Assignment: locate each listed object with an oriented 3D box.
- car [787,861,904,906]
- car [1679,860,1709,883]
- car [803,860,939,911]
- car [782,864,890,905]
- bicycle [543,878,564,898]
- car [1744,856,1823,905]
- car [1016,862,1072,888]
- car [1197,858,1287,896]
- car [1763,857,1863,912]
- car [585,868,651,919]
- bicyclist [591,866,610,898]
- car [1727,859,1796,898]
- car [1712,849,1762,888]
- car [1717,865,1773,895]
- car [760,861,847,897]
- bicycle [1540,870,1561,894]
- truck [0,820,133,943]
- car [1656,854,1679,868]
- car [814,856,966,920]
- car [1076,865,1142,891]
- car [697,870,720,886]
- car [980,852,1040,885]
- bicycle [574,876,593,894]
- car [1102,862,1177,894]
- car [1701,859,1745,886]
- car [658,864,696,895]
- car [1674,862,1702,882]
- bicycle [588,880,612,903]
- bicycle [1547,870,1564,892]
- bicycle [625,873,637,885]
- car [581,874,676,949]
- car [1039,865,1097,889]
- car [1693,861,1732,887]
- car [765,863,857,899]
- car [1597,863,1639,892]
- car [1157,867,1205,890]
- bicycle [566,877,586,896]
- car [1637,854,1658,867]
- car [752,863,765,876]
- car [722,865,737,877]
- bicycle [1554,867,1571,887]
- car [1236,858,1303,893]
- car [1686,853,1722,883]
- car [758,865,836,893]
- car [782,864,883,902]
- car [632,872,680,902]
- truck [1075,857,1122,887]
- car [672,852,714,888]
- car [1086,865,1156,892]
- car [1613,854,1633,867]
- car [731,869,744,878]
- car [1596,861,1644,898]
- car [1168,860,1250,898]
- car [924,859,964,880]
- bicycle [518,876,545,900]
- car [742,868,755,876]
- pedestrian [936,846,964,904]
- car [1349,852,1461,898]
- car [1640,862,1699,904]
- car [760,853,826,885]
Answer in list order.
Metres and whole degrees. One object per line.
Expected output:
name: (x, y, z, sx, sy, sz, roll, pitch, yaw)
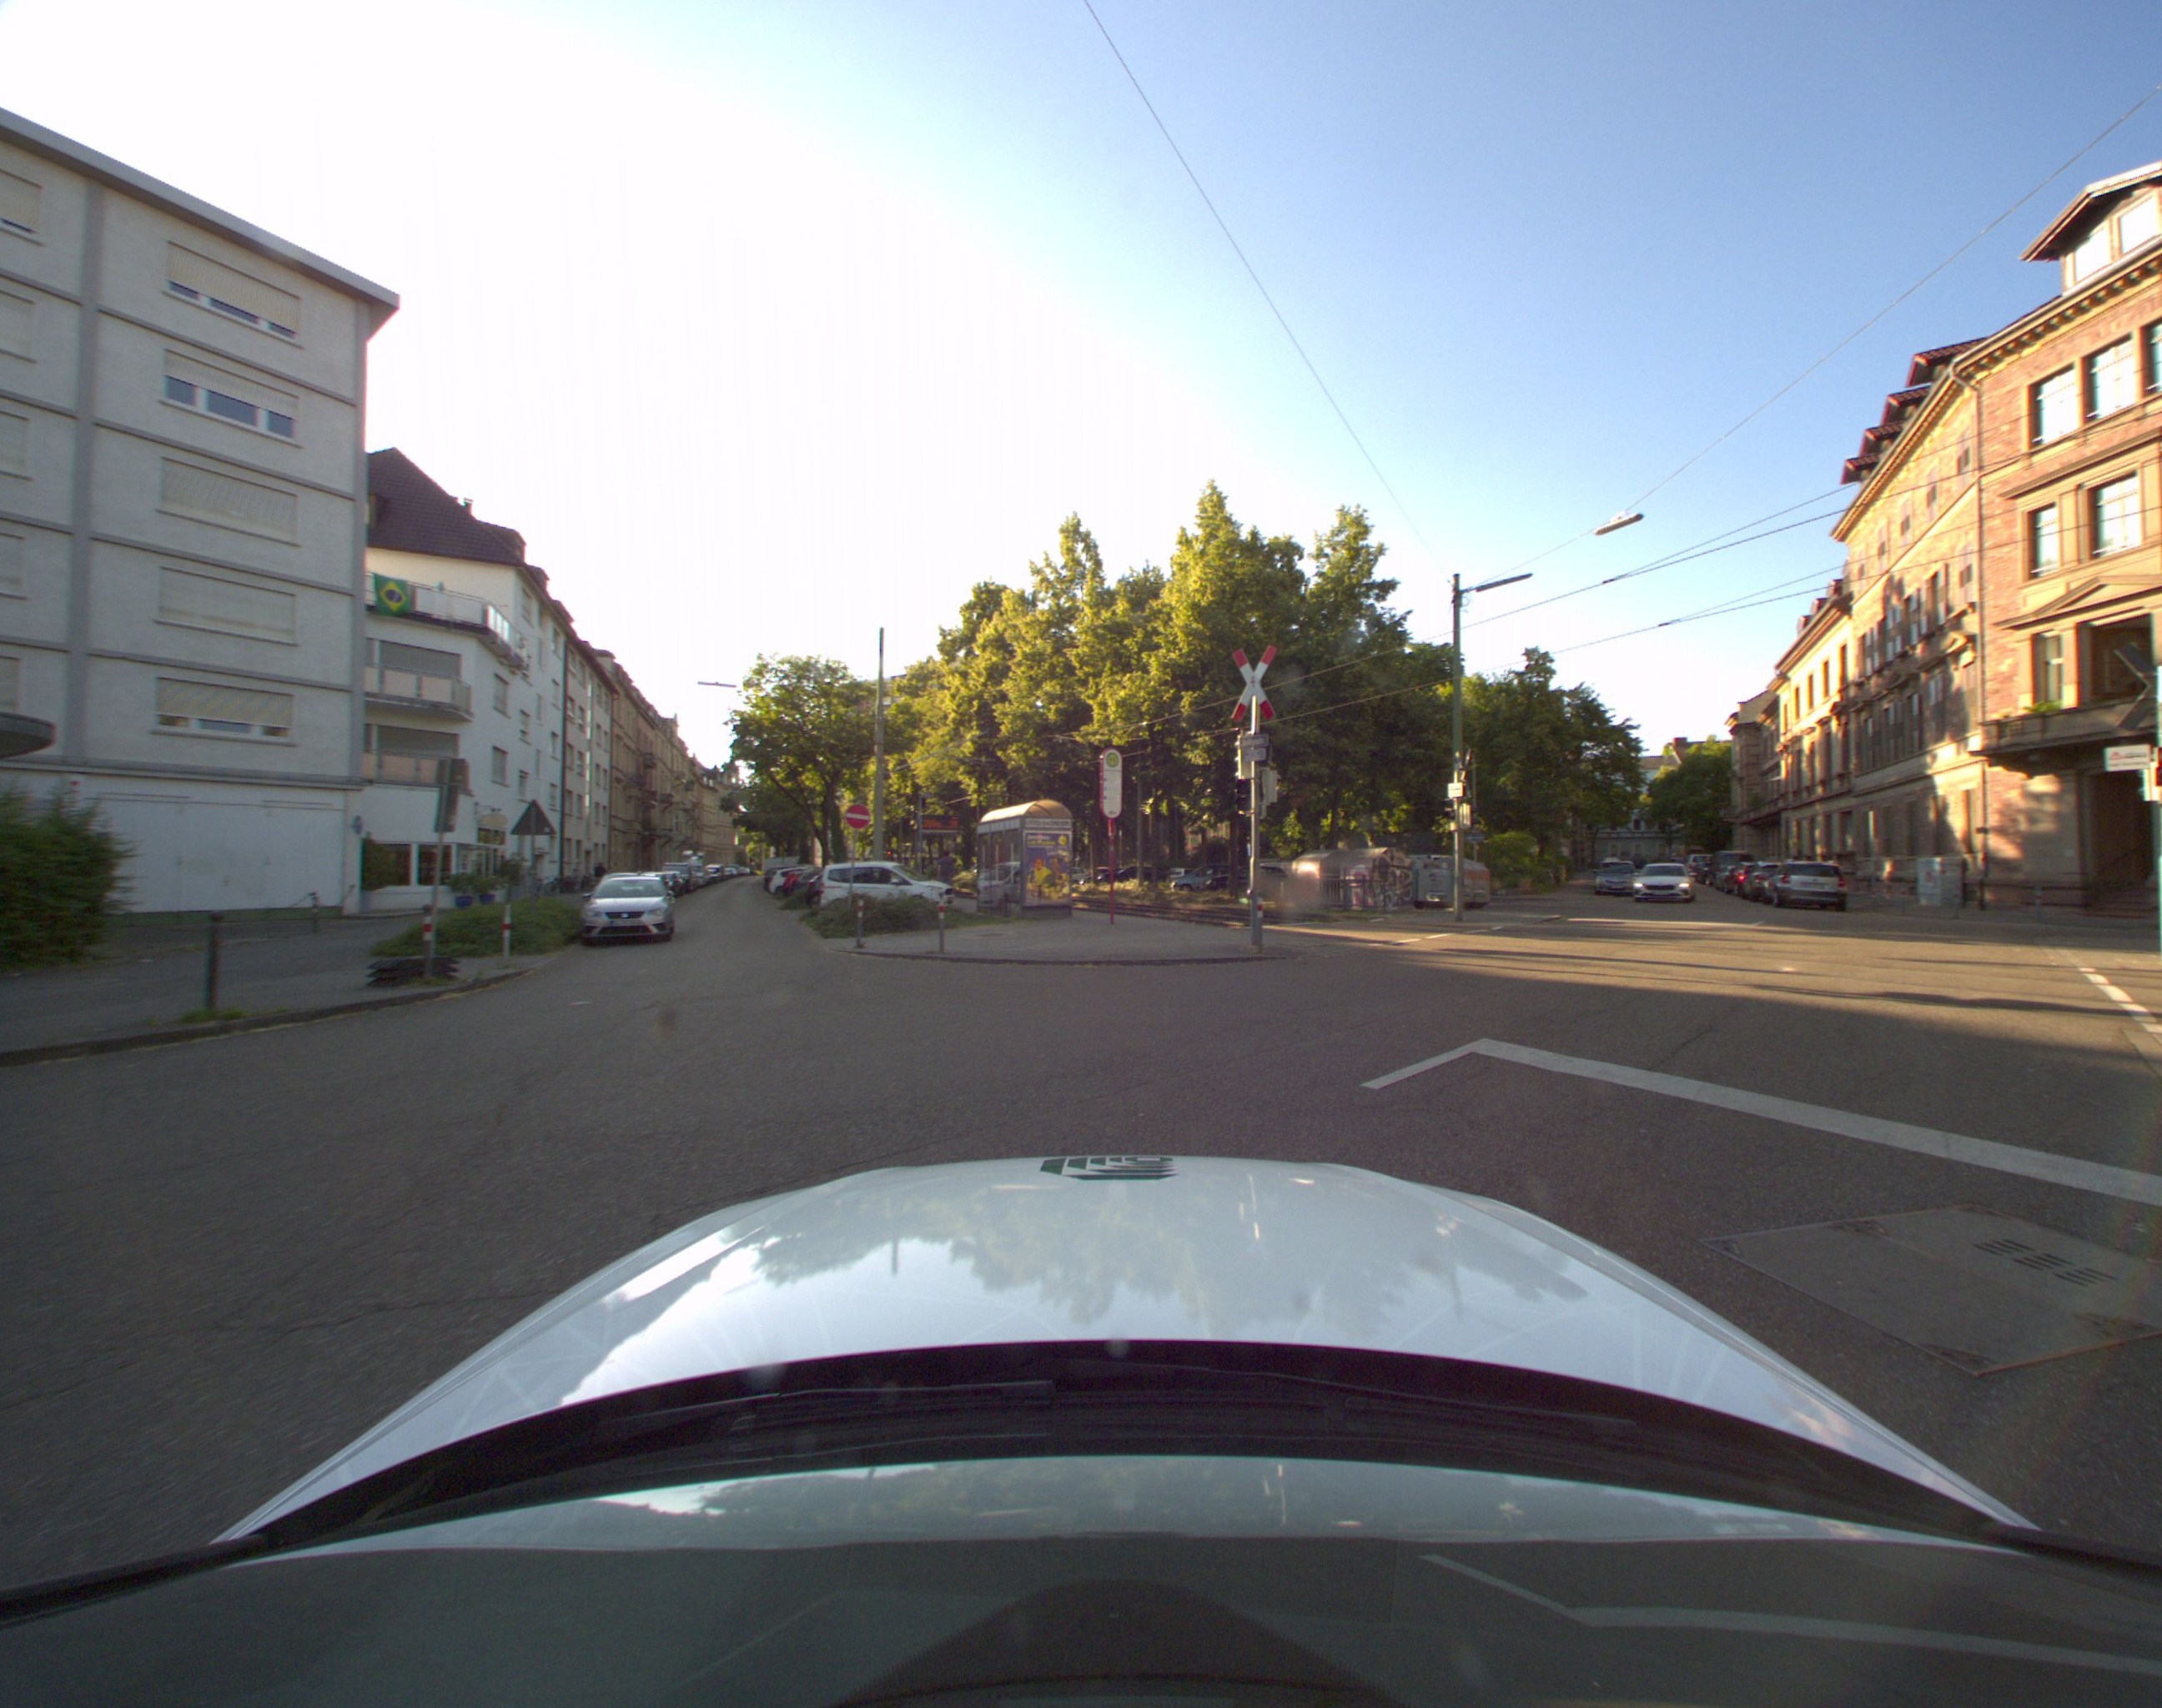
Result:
car: (-9.599, 1.187, 33.423, 4.211, 1.508, 1.608, -4, 0, 2)
car: (52.636, 1.501, 69.968, 1.780, 1.838, 3.980, 2, 1, 34)
car: (-7.307, 1.098, 28.581, 4.176, 1.436, 1.702, -4, 0, 2)
car: (-10.848, 1.330, 36.266, 4.211, 1.458, 1.608, -4, 0, 2)
bicycle: (-27.624, 1.761, 42.663, 0.533, 1.003, 2.159, 0, -1, -23)
car: (27.906, 1.000, 32.495, 1.809, 1.723, 4.572, 3, 1, 34)
car: (-2.572, 1.490, 57.265, 3.808, 1.587, 1.735, 2, -3, -3)
car: (6.975, 0.992, 35.466, 3.594, 1.447, 1.608, 2, -1, 1)
car: (25.211, 1.015, 28.213, 1.897, 1.656, 4.213, 3, 1, 33)
car: (-16.819, 1.378, 29.767, 1.719, 1.673, 3.967, -1, 0, -24)
bicyclist: (-24.669, 1.431, 41.809, 0.714, 1.617, 0.718, 0, -1, -22)
car: (30.791, 1.060, 36.953, 1.781, 1.614, 3.980, 2, 1, 31)
car: (37.132, 0.797, 46.156, 1.780, 2.072, 3.980, 2, 1, 34)
car: (33.657, 1.286, 41.340, 1.780, 1.345, 3.980, 2, 1, 34)
car: (-15.759, 1.407, 46.340, 4.197, 1.749, 1.865, -4, 0, 13)
bicycle: (22.646, 1.340, 39.269, 0.591, 1.101, 2.644, -1, -1, 36)
truck: (-23.512, 0.578, 16.739, 1.974, 2.535, 5.004, -1, -1, 33)
car: (80.694, 0.948, 112.086, 1.975, 1.684, 4.023, 1, -2, 28)
car: (-5.917, 1.046, 25.396, 4.203, 1.652, 1.611, -4, 0, 8)
car: (1.657, 1.477, 48.963, 3.808, 1.391, 1.735, 2, -3, -3)
car: (-37.581, 2.424, 82.202, 1.717, 1.446, 3.972, -1, 0, -20)
car: (-5.729, 1.196, 65.852, 4.460, 2.477, 1.823, 2, -3, 8)
bicycle: (-30.309, 1.886, 49.618, 0.629, 1.003, 2.159, 0, -1, -23)
car: (3.113, 1.313, 43.827, 3.808, 1.497, 1.735, 2, -3, -3)
car: (40.063, 1.142, 50.874, 1.780, 1.523, 3.980, 2, 1, 34)
car: (-26.569, 1.656, 53.660, 1.716, 1.933, 3.973, -1, 0, -20)
car: (55.486, 1.618, 74.513, 1.780, 1.727, 3.980, 2, 1, 34)
bicycle: (-24.678, 1.910, 41.832, 0.714, 1.051, 2.330, 0, -1, -22)
bicycle: (24.202, 1.351, 41.520, 0.591, 1.101, 2.644, -1, -1, 34)
bicycle: (-40.039, 2.232, 72.483, 0.629, 1.003, 2.159, 0, -1, -23)
car: (-10.299, 1.224, 18.745, 1.720, 1.446, 3.965, -1, 0, -27)
car: (-0.892, 1.554, 54.670, 3.808, 1.422, 1.735, 2, -3, -3)
car: (43.108, 1.332, 55.692, 1.780, 1.622, 3.980, 2, 1, 34)
car: (-14.494, 1.442, 43.752, 4.197, 1.651, 1.865, -4, 0, 13)
car: (29.731, 1.261, 45.091, 1.809, 1.447, 3.956, 3, 1, 34)
car: (6.698, 1.613, 54.934, 1.579, 1.467, 3.569, 0, -1, -26)
bicycle: (-28.787, 1.835, 46.450, 0.629, 1.003, 2.159, 0, -1, -23)
car: (78.883, 0.910, 113.404, 1.975, 1.684, 4.023, 1, -2, 28)
car: (-64.676, 3.010, 163.370, 1.713, 2.562, 5.540, -1, 0, -14)
car: (-57.622, 2.816, 133.568, 1.715, 1.820, 3.976, -1, 0, -18)
bicycle: (27.695, 1.328, 46.831, 0.591, 1.101, 2.644, -1, -1, 35)
car: (10.602, 1.208, 46.005, 1.580, 1.904, 3.866, 0, -1, -28)
car: (46.265, 1.007, 60.504, 1.780, 2.072, 3.980, 2, 1, 34)
car: (-18.171, 1.598, 52.237, 4.206, 1.473, 1.861, -4, 0, 6)
car: (-11.809, 1.373, 38.824, 4.211, 1.458, 1.608, -4, 0, 2)
car: (-22.627, 1.704, 43.489, 1.716, 1.446, 3.973, -1, 0, -20)
truck: (1.423, 1.448, 67.197, 2.376, 2.352, 4.351, 0, -1, -22)
car: (-32.225, 1.297, 67.837, 2.561, 2.887, 5.445, -1, 0, -20)
car: (2.245, 1.401, 46.154, 3.808, 1.391, 1.735, 2, -3, -3)
car: (76.165, 0.885, 114.407, 1.975, 1.684, 4.023, 1, -2, 28)
car: (-60.403, 3.418, 143.130, 1.715, 1.446, 3.976, -1, 0, -18)
car: (26.138, 1.177, 39.468, 1.809, 1.614, 4.318, 3, 1, 34)
car: (5.957, 1.157, 38.158, 3.594, 1.562, 1.608, 2, -1, 1)
car: (-15.857, 1.835, 94.070, 4.055, 2.210, 1.823, 2, -3, 8)
bicycle: (-24.793, 1.533, 36.761, 0.533, 1.003, 2.160, 0, -1, -21)
car: (-62.596, 3.349, 153.282, 1.713, 1.446, 3.981, -1, 0, -14)
pedestrian: (-4.404, 0.711, 27.480, 0.846, 1.911, 0.836, 0, -1, -4)
car: (15.007, 0.965, 38.010, 1.956, 2.003, 4.614, 0, -1, -30)
car: (22.314, 1.041, 30.857, 1.685, 1.457, 4.088, -1, -1, 36)
car: (-27.216, 1.409, 77.068, 5.225, 2.571, 2.277, -4, 0, 6)
